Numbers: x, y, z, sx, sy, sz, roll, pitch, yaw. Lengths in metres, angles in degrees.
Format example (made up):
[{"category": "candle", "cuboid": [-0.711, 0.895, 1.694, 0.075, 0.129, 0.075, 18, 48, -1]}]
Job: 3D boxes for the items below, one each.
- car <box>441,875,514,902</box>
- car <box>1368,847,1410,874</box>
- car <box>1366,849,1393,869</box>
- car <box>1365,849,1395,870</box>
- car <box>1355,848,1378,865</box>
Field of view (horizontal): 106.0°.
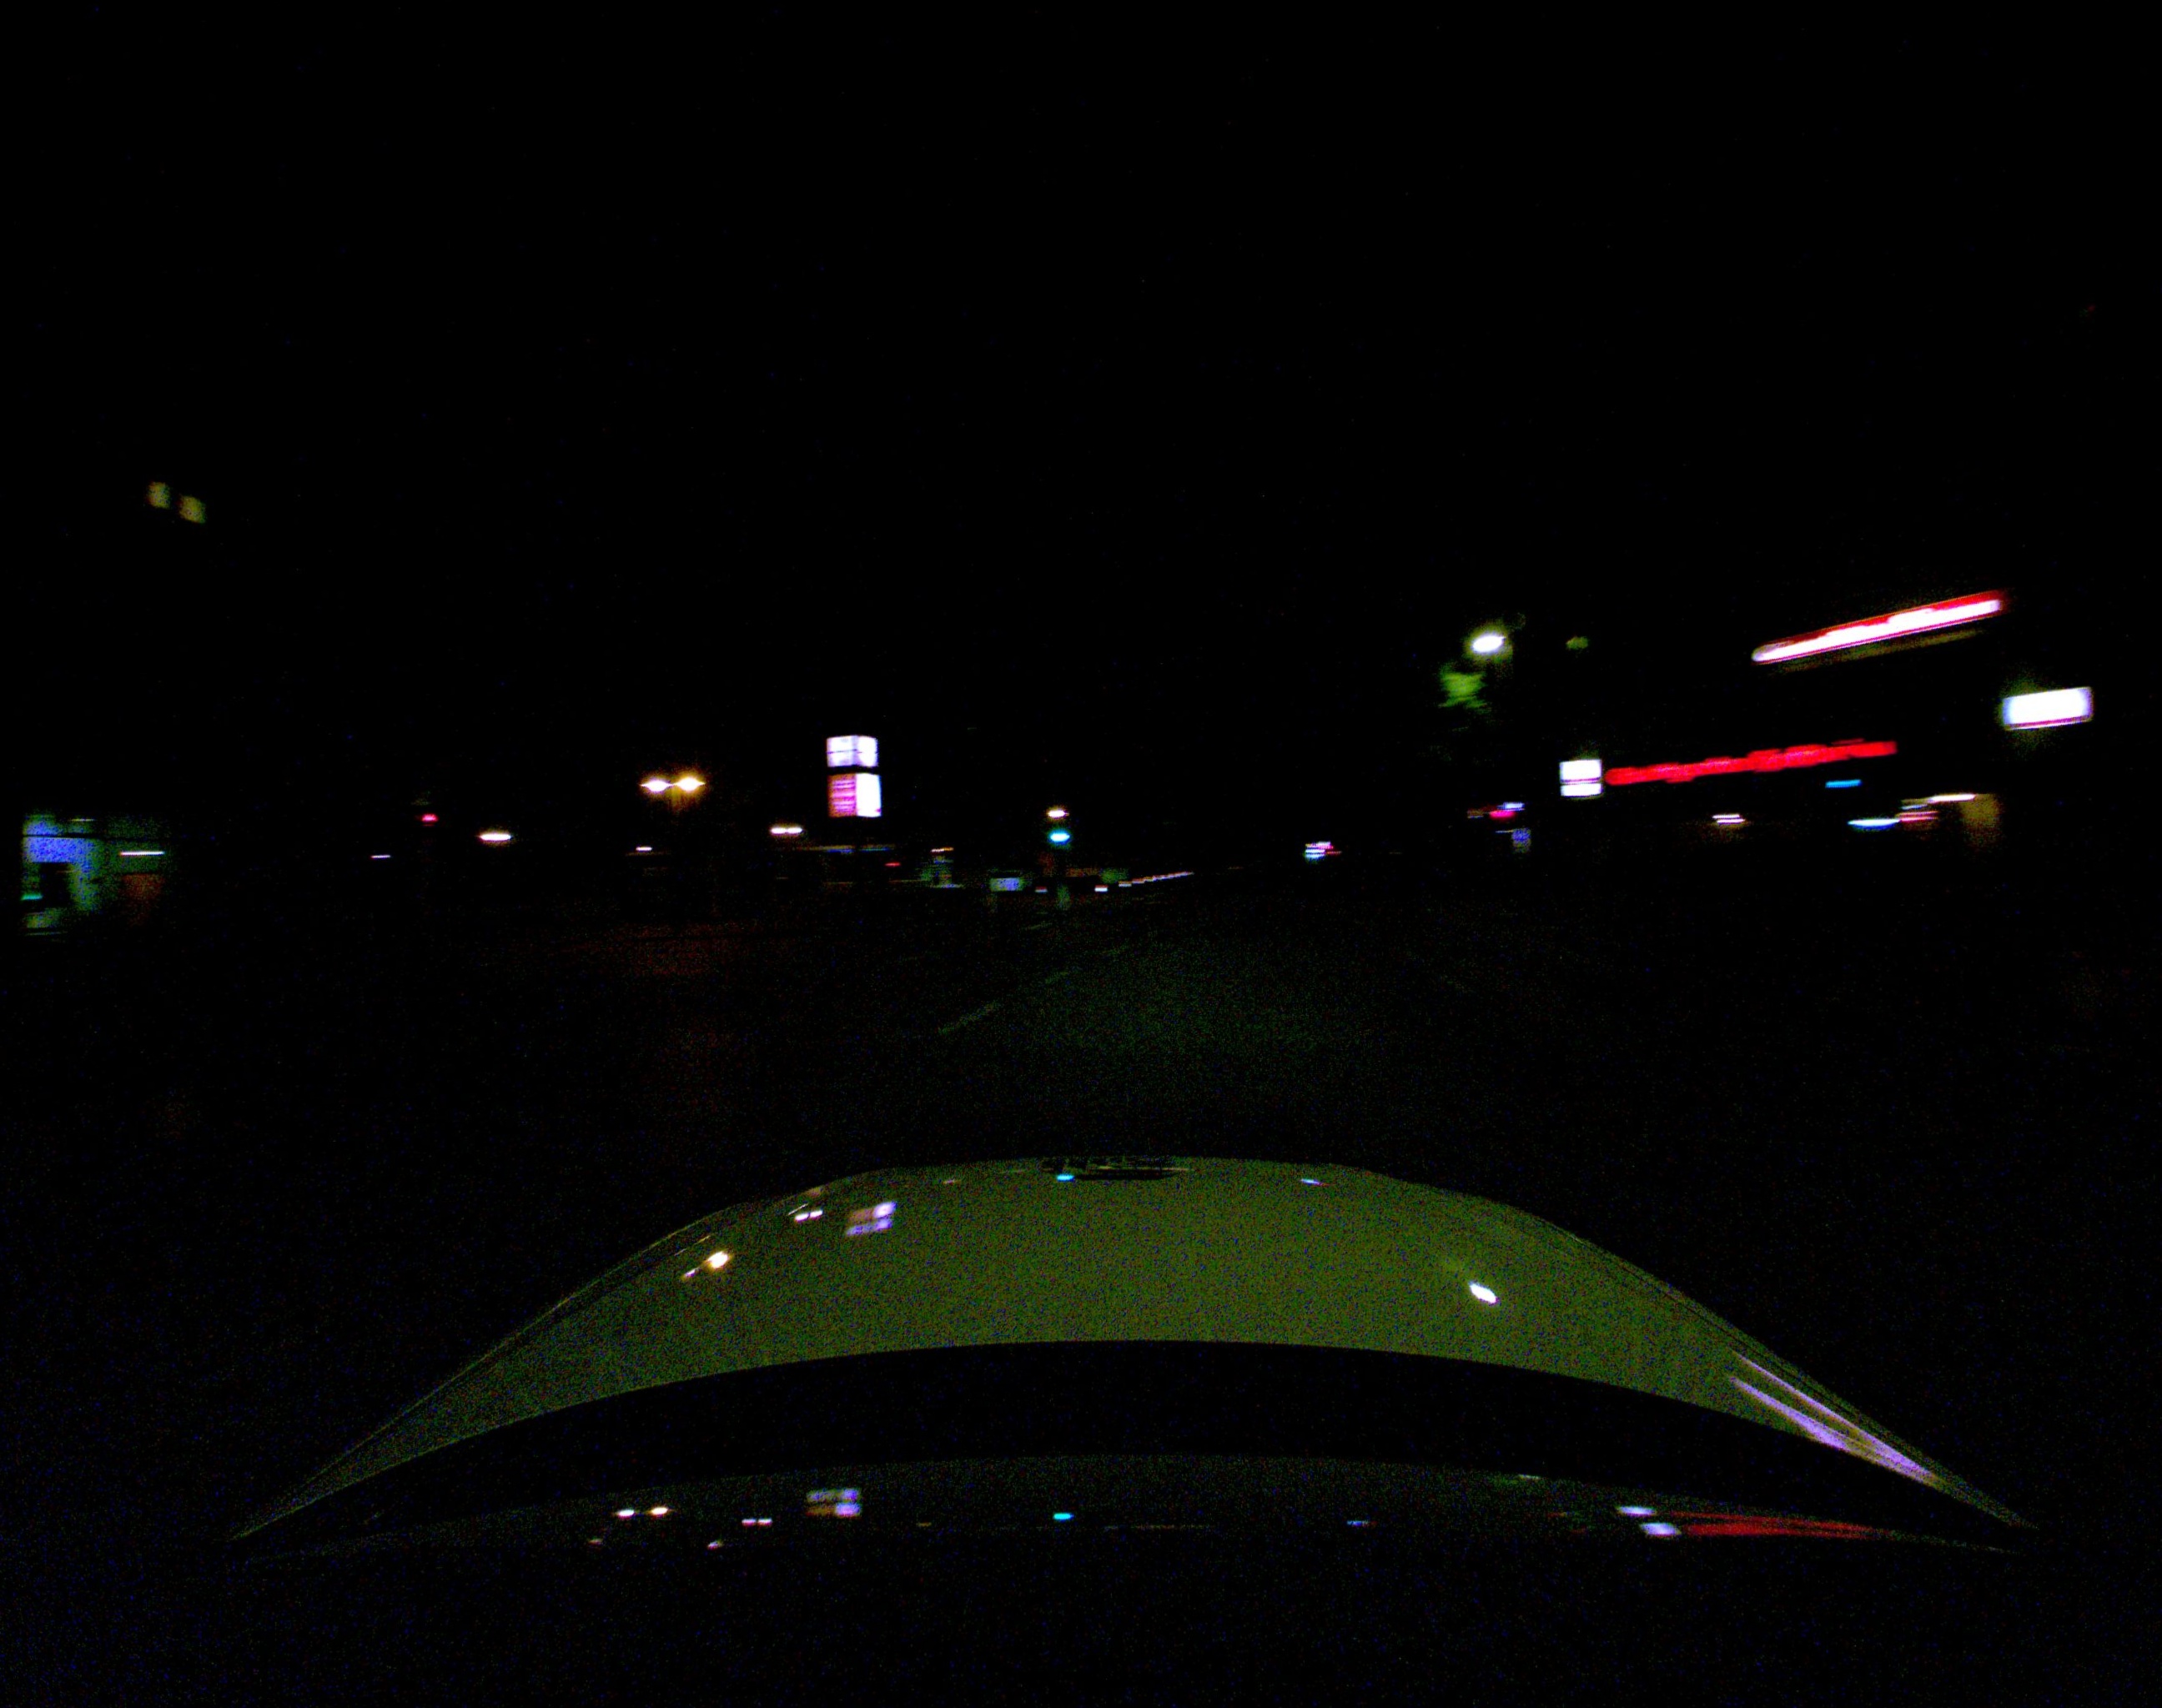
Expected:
[{"category": "car", "cuboid": [-37.395, 2.100, 50.612, 1.917, 1.451, 3.989, 0, 0, -8]}, {"category": "car", "cuboid": [19.540, 0.396, 51.811, 1.856, 1.653, 3.876, 0, 0, 12]}, {"category": "car", "cuboid": [23.422, 0.370, 64.021, 1.874, 1.453, 3.913, 0, 0, 18]}, {"category": "car", "cuboid": [20.845, 0.369, 56.686, 1.873, 1.453, 3.915, 0, 0, 21]}, {"category": "car", "cuboid": [28.417, 0.216, 81.081, 1.989, 1.626, 3.915, 0, 0, 21]}]
